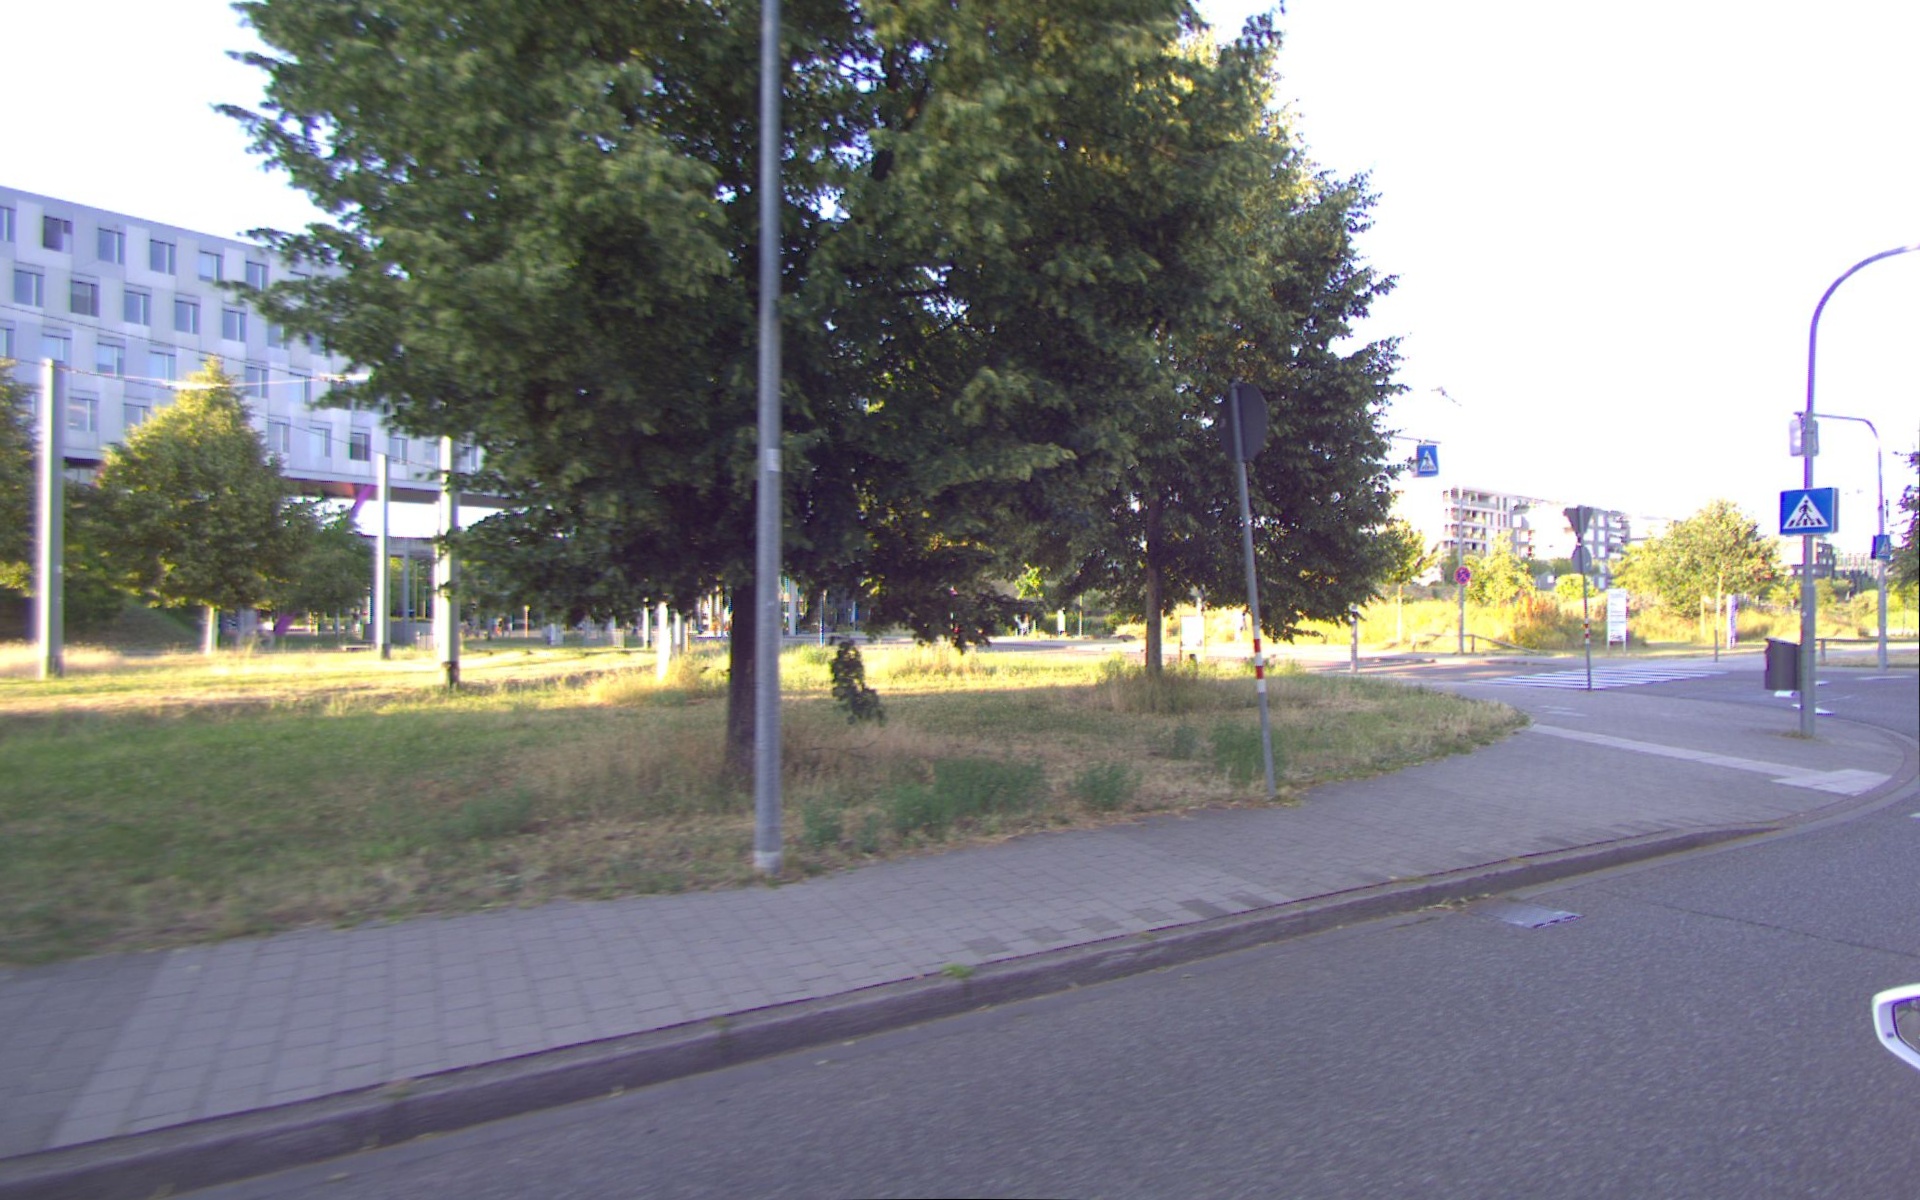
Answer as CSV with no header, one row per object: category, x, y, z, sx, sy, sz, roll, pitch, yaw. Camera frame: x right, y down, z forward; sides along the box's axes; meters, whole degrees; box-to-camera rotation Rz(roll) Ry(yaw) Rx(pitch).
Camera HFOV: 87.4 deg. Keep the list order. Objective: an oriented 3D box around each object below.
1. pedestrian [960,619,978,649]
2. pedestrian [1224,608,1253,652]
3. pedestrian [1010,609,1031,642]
pedestrian,0.531,2.027,60.733,0.803,1.810,0.784,1,-1,-27
pedestrian,11.548,1.249,41.649,0.781,1.810,0.861,1,-1,-32
pedestrian,3.708,1.561,61.619,0.924,2.046,1.040,1,-1,-27
